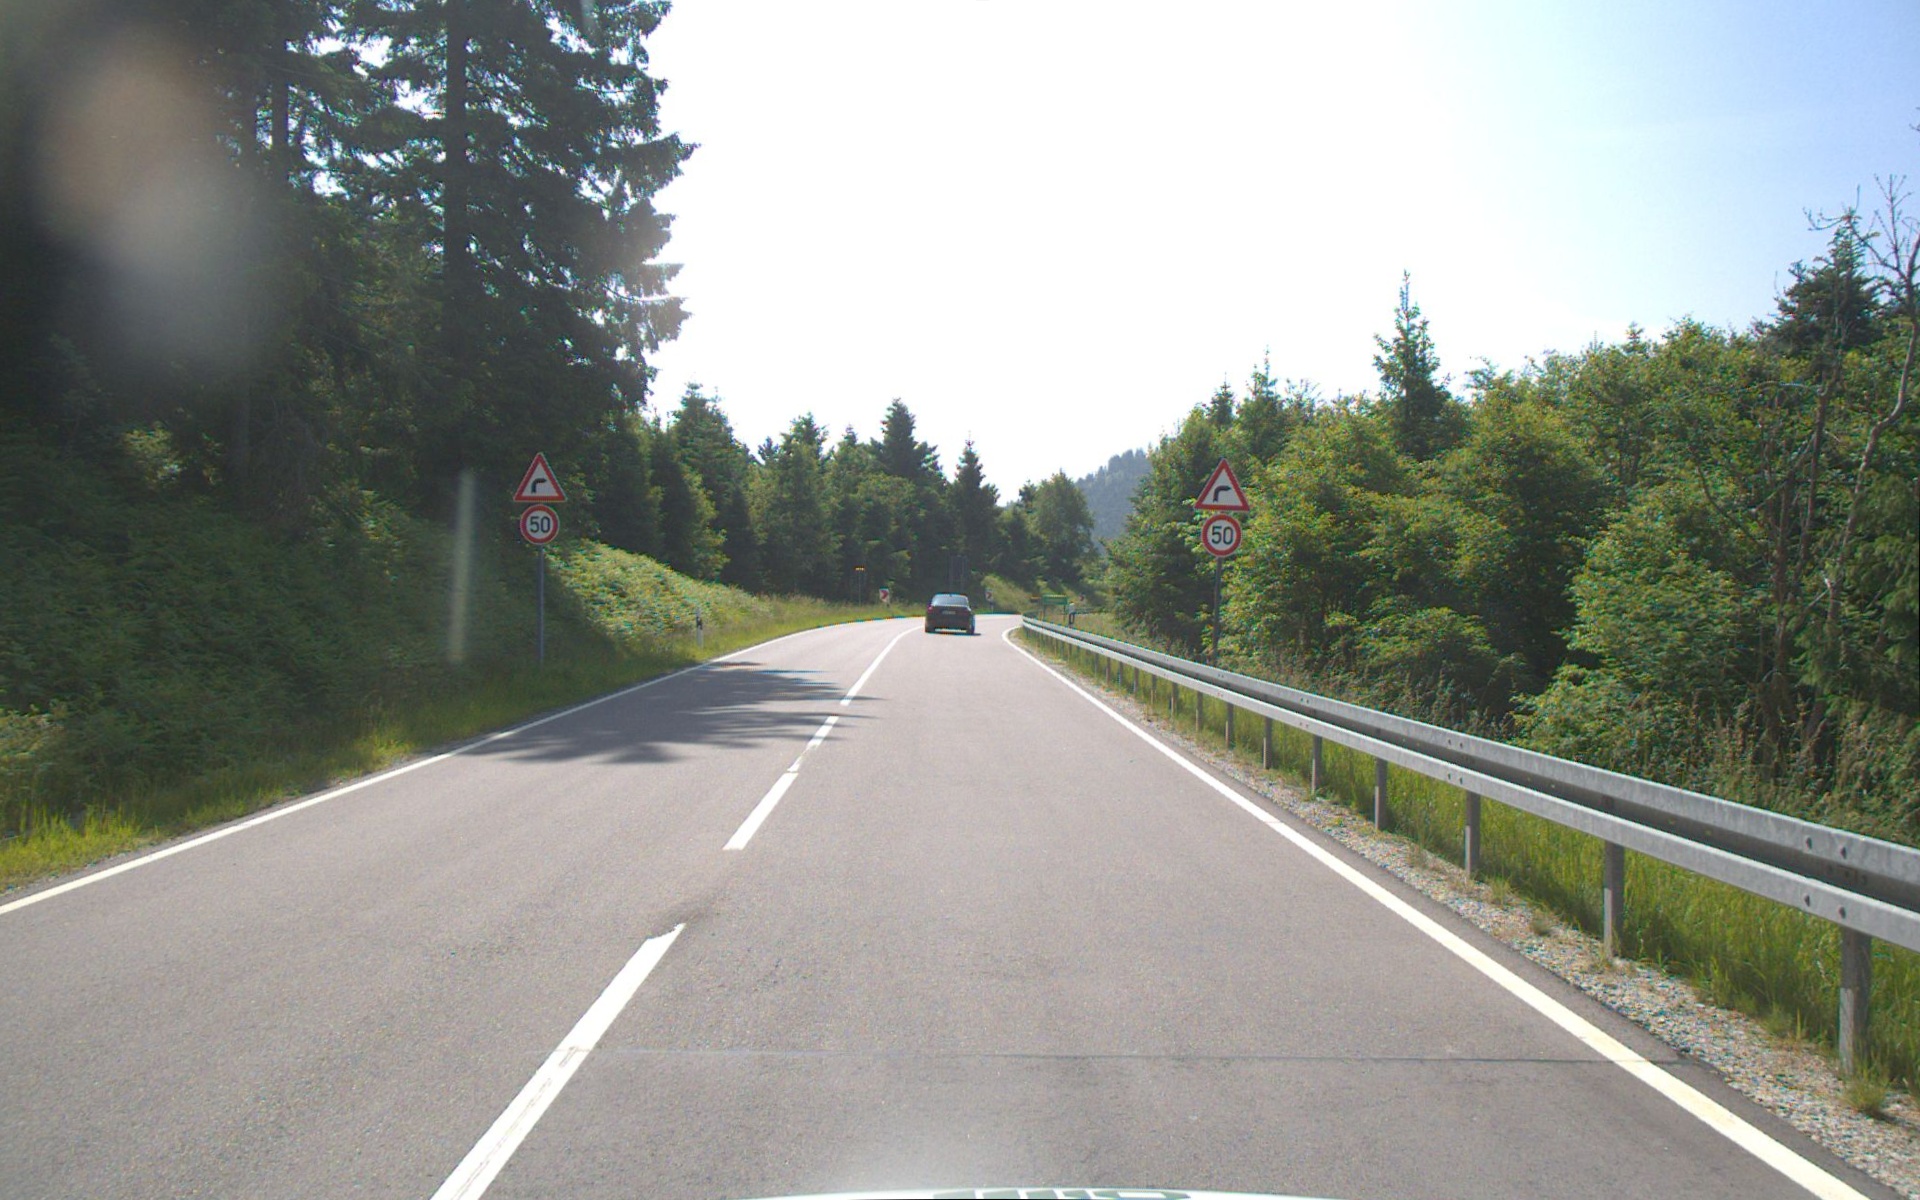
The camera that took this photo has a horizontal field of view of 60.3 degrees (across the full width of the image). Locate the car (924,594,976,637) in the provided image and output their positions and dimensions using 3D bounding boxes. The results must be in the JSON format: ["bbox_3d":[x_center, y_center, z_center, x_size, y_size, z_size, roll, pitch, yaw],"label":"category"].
[{"bbox_3d":[-0.357,0.548,61.496,1.739,1.467,3.710,2,0,2],"label":"car"}]
